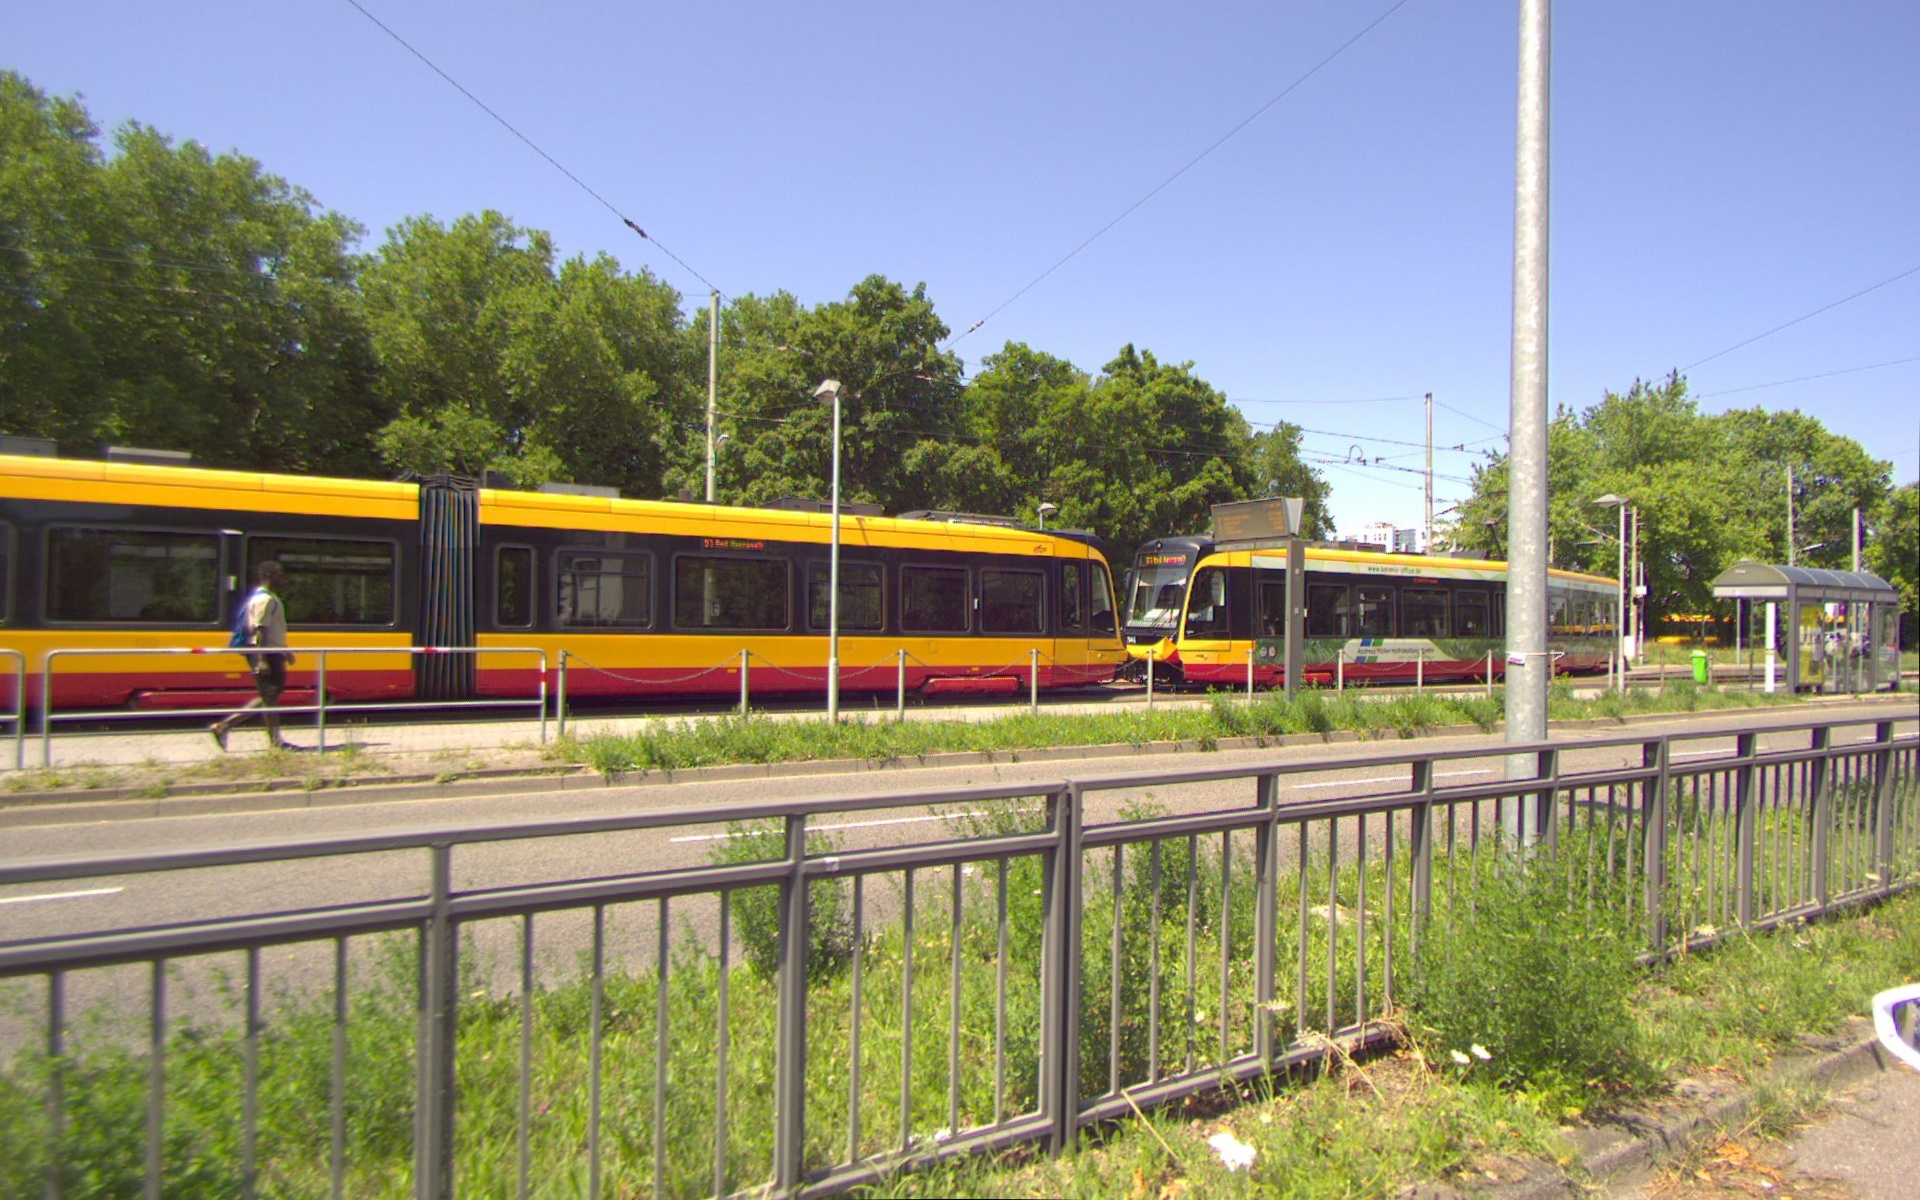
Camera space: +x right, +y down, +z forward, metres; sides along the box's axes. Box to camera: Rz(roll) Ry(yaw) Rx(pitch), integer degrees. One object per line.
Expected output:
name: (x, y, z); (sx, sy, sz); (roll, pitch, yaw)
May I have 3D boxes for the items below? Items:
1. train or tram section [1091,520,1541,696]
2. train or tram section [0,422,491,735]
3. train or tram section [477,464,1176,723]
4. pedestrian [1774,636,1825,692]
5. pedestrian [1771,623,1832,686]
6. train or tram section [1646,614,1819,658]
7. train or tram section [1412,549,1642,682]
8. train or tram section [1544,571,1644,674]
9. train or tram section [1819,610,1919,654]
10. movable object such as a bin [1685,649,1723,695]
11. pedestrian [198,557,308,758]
train or tram section: (9.715, 0.288, 25.906); (13.743, 3.673, 3.027); (1, 0, -32)
train or tram section: (-13.081, -0.298, 13.056); (12.443, 3.791, 3.030); (1, 0, -29)
train or tram section: (-1.927, 0.031, 19.321); (13.099, 3.817, 3.030); (1, 0, -29)
pedestrian: (20.288, 1.534, 24.272); (0.830, 1.300, 0.697); (1, 0, -31)
pedestrian: (21.830, 1.399, 26.065); (0.974, 1.567, 0.926); (1, 0, -31)
train or tram section: (74.188, 3.363, 96.833); (13.071, 3.512, 3.030); (2, 0, 42)
train or tram section: (19.002, 0.518, 33.040); (12.364, 3.673, 3.014); (1, 0, -43)
train or tram section: (26.595, 0.862, 41.986); (3.002, 3.673, 12.416); (2, 0, 33)
train or tram section: (81.473, 2.815, 85.386); (3.005, 3.512, 12.668); (1, 0, -25)
movable object such as a bin: (16.473, 1.587, 22.244); (0.638, 0.991, 0.478); (2, -1, -33)
pedestrian: (-6.705, 0.524, 9.558); (0.767, 1.815, 0.629); (1, 1, -30)
